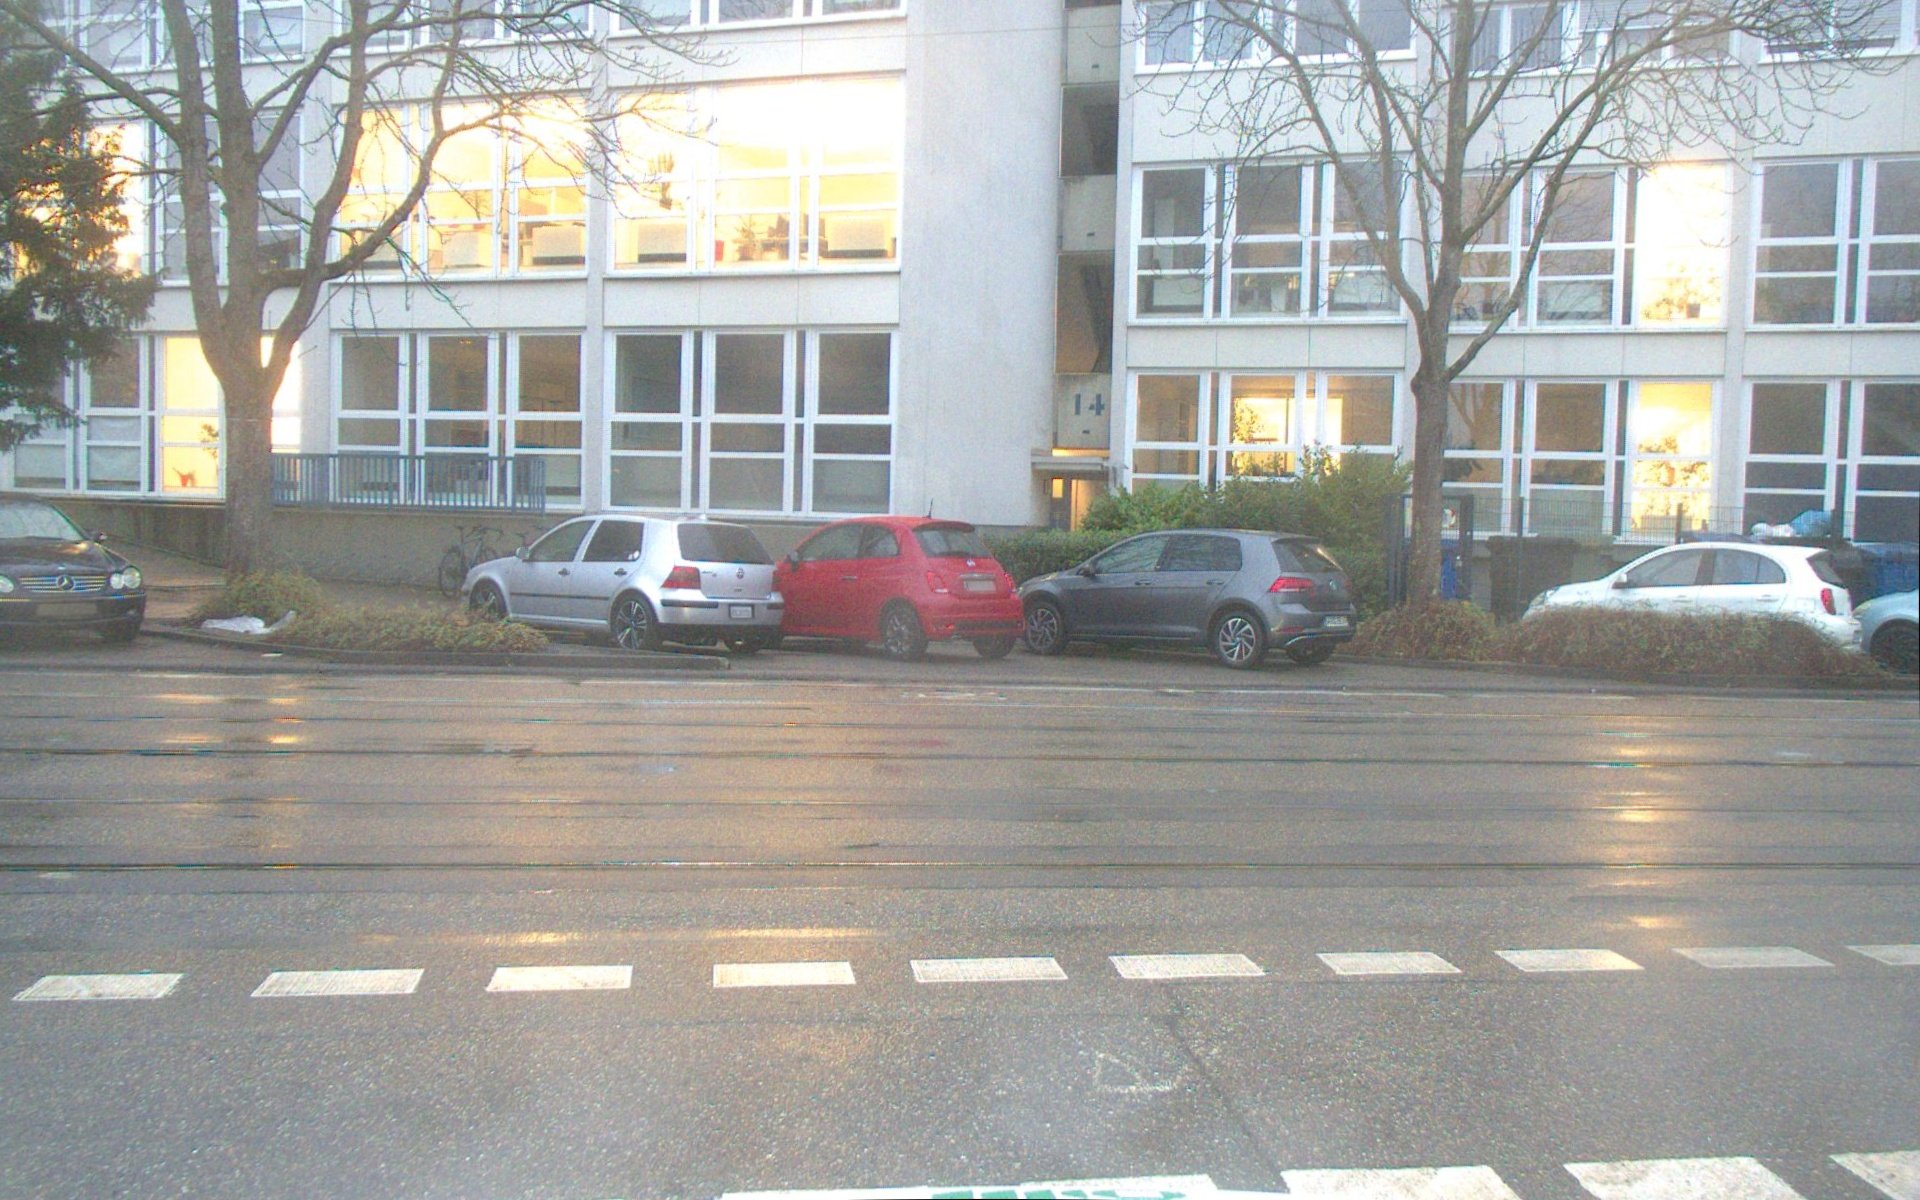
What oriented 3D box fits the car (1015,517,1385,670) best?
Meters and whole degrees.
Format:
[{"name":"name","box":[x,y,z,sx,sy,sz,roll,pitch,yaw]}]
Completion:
[{"name":"car","box":[2.623,-0.147,18.528,3.781,1.518,1.688,3,3,39]}]

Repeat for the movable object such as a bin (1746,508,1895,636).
[{"name":"movable object such as a bin","box":[13.127,-0.453,25.292,1.362,1.892,1.573,0,2,-6]}]

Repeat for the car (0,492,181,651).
[{"name":"car","box":[-9.509,-0.342,16.363,3.928,1.402,1.846,3,3,41]}]

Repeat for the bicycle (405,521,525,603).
[{"name":"bicycle","box":[-7.208,-0.572,24.216,0.626,1.140,2.208,1,2,15]}]

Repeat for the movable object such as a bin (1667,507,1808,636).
[{"name":"movable object such as a bin","box":[11.771,-0.461,25.108,1.288,1.892,1.573,0,2,-6]}]

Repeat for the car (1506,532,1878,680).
[{"name":"car","box":[8.764,-0.003,19.939,3.802,1.578,1.686,3,3,38]}]

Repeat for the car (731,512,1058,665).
[{"name":"car","box":[-0.771,-0.195,18.340,3.389,1.518,1.720,3,3,41]}]

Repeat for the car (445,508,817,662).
[{"name":"car","box":[-3.585,-0.231,17.777,3.922,1.471,1.786,2,3,37]}]

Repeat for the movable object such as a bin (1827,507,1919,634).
[{"name":"movable object such as a bin","box":[14.441,-0.474,25.446,1.288,1.892,1.573,0,2,-6]}]

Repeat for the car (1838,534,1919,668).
[{"name":"car","box":[12.852,0.032,19.714,3.928,1.590,1.727,3,3,41]}]

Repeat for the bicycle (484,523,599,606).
[{"name":"bicycle","box":[-6.029,-0.539,23.949,0.626,1.140,2.208,1,2,15]}]
